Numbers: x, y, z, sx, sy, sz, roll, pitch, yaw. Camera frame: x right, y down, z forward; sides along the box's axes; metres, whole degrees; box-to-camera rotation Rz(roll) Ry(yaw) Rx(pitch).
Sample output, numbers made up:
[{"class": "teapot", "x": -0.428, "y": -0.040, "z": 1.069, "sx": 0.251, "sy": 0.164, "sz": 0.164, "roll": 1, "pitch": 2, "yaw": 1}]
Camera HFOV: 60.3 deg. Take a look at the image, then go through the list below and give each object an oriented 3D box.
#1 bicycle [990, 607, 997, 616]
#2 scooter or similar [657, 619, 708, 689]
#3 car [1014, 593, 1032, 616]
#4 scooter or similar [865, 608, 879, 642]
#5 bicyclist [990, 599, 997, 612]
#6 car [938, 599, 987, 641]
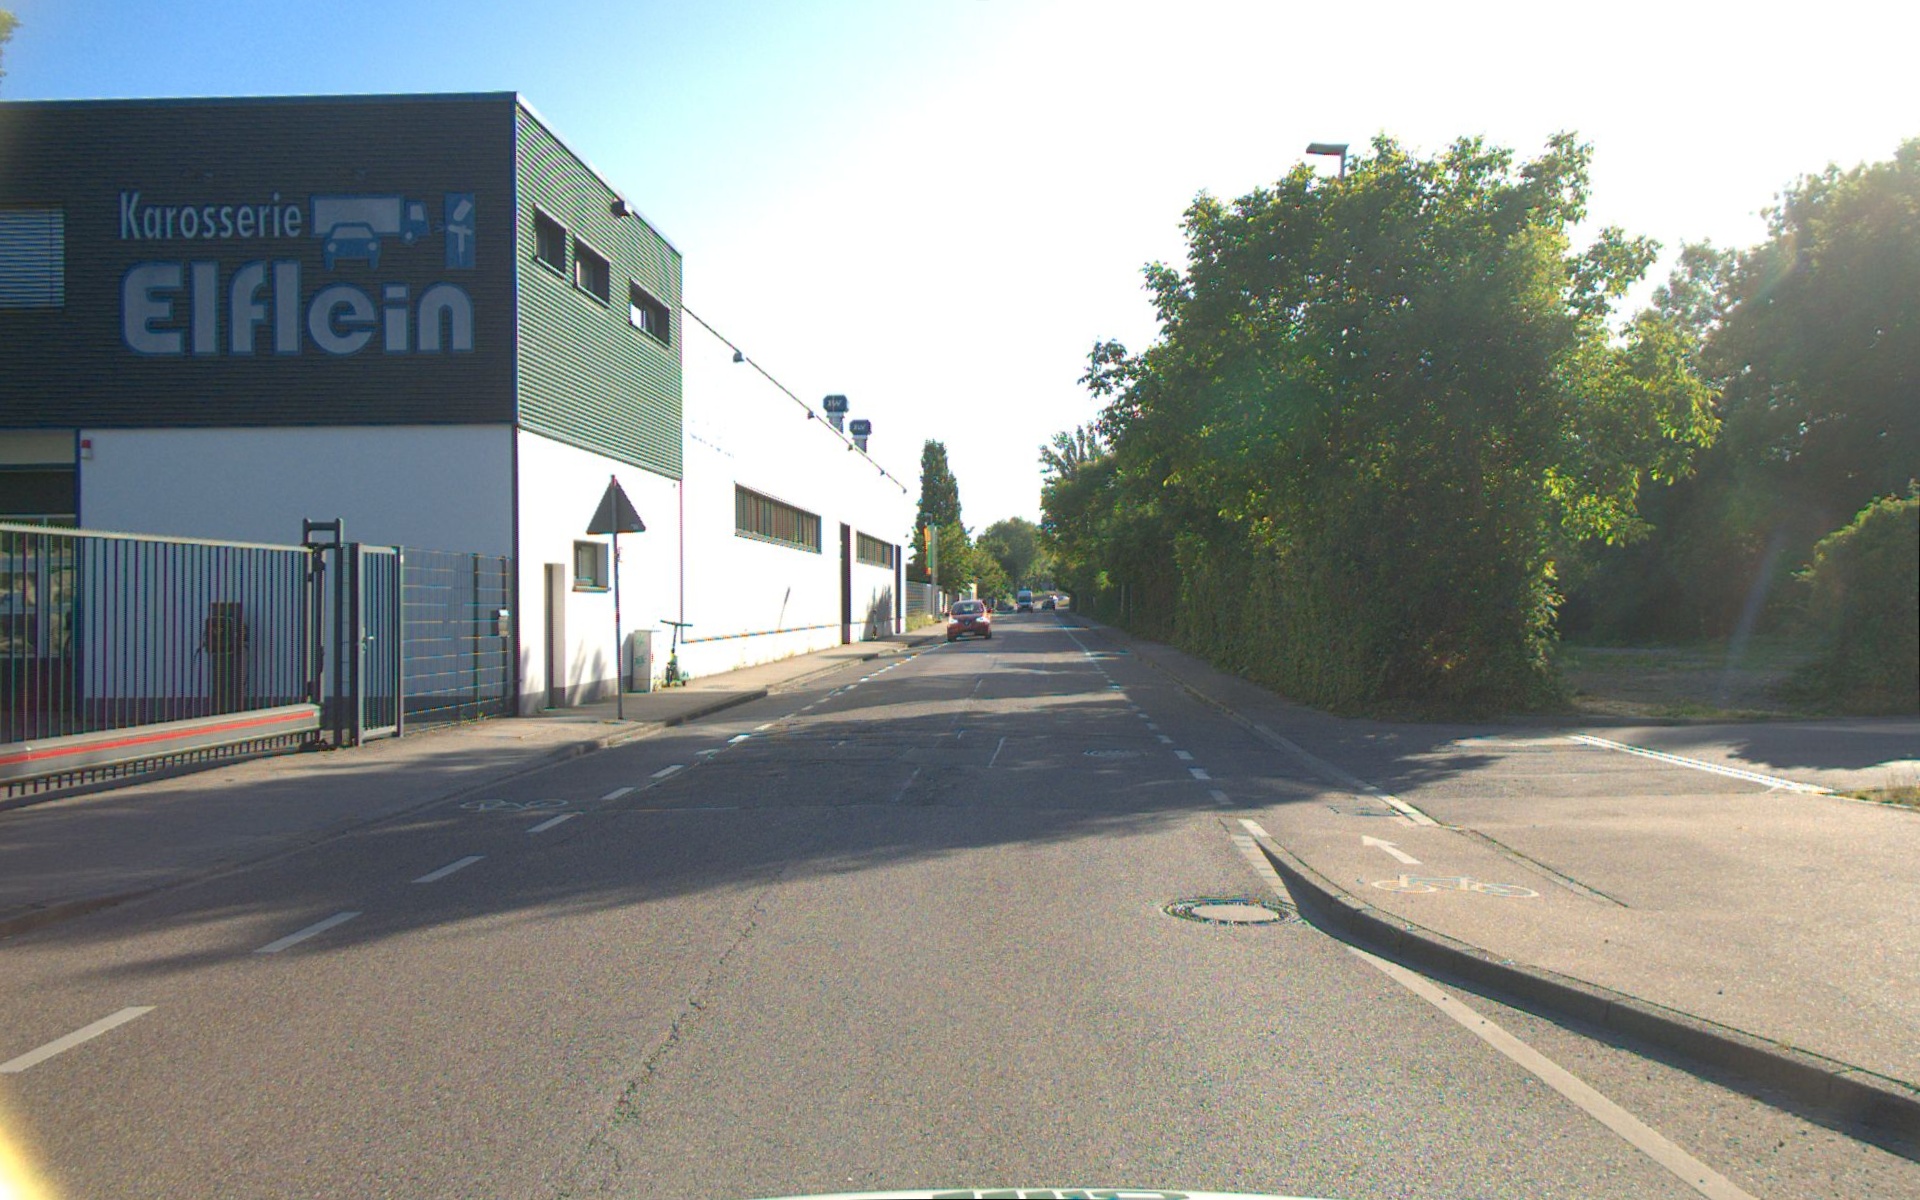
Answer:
[{"class": "bicycle", "x": 3.860, "y": 1.344, "z": 190.714, "sx": 0.674, "sy": 1.052, "sz": 1.351, "roll": 1, "pitch": 0, "yaw": 3}, {"class": "scooter or similar", "x": -5.133, "y": 0.981, "z": 30.643, "sx": 0.496, "sy": 1.224, "sz": 1.754, "roll": 3, "pitch": 0, "yaw": 3}, {"class": "car", "x": 7.983, "y": 0.547, "z": 209.902, "sx": 2.078, "sy": 2.829, "sz": 5.928, "roll": -3, "pitch": -1, "yaw": 3}, {"class": "scooter or similar", "x": -3.439, "y": 0.978, "z": 64.651, "sx": 0.407, "sy": 1.289, "sz": 1.060, "roll": 0, "pitch": 0, "yaw": 3}, {"class": "bicyclist", "x": 3.871, "y": 0.648, "z": 190.750, "sx": 0.675, "sy": 1.559, "sz": 0.722, "roll": 1, "pitch": 0, "yaw": 3}, {"class": "car", "x": 0.137, "y": 0.782, "z": 66.559, "sx": 1.780, "sy": 1.515, "sz": 4.000, "roll": -4, "pitch": 0, "yaw": 1}]
